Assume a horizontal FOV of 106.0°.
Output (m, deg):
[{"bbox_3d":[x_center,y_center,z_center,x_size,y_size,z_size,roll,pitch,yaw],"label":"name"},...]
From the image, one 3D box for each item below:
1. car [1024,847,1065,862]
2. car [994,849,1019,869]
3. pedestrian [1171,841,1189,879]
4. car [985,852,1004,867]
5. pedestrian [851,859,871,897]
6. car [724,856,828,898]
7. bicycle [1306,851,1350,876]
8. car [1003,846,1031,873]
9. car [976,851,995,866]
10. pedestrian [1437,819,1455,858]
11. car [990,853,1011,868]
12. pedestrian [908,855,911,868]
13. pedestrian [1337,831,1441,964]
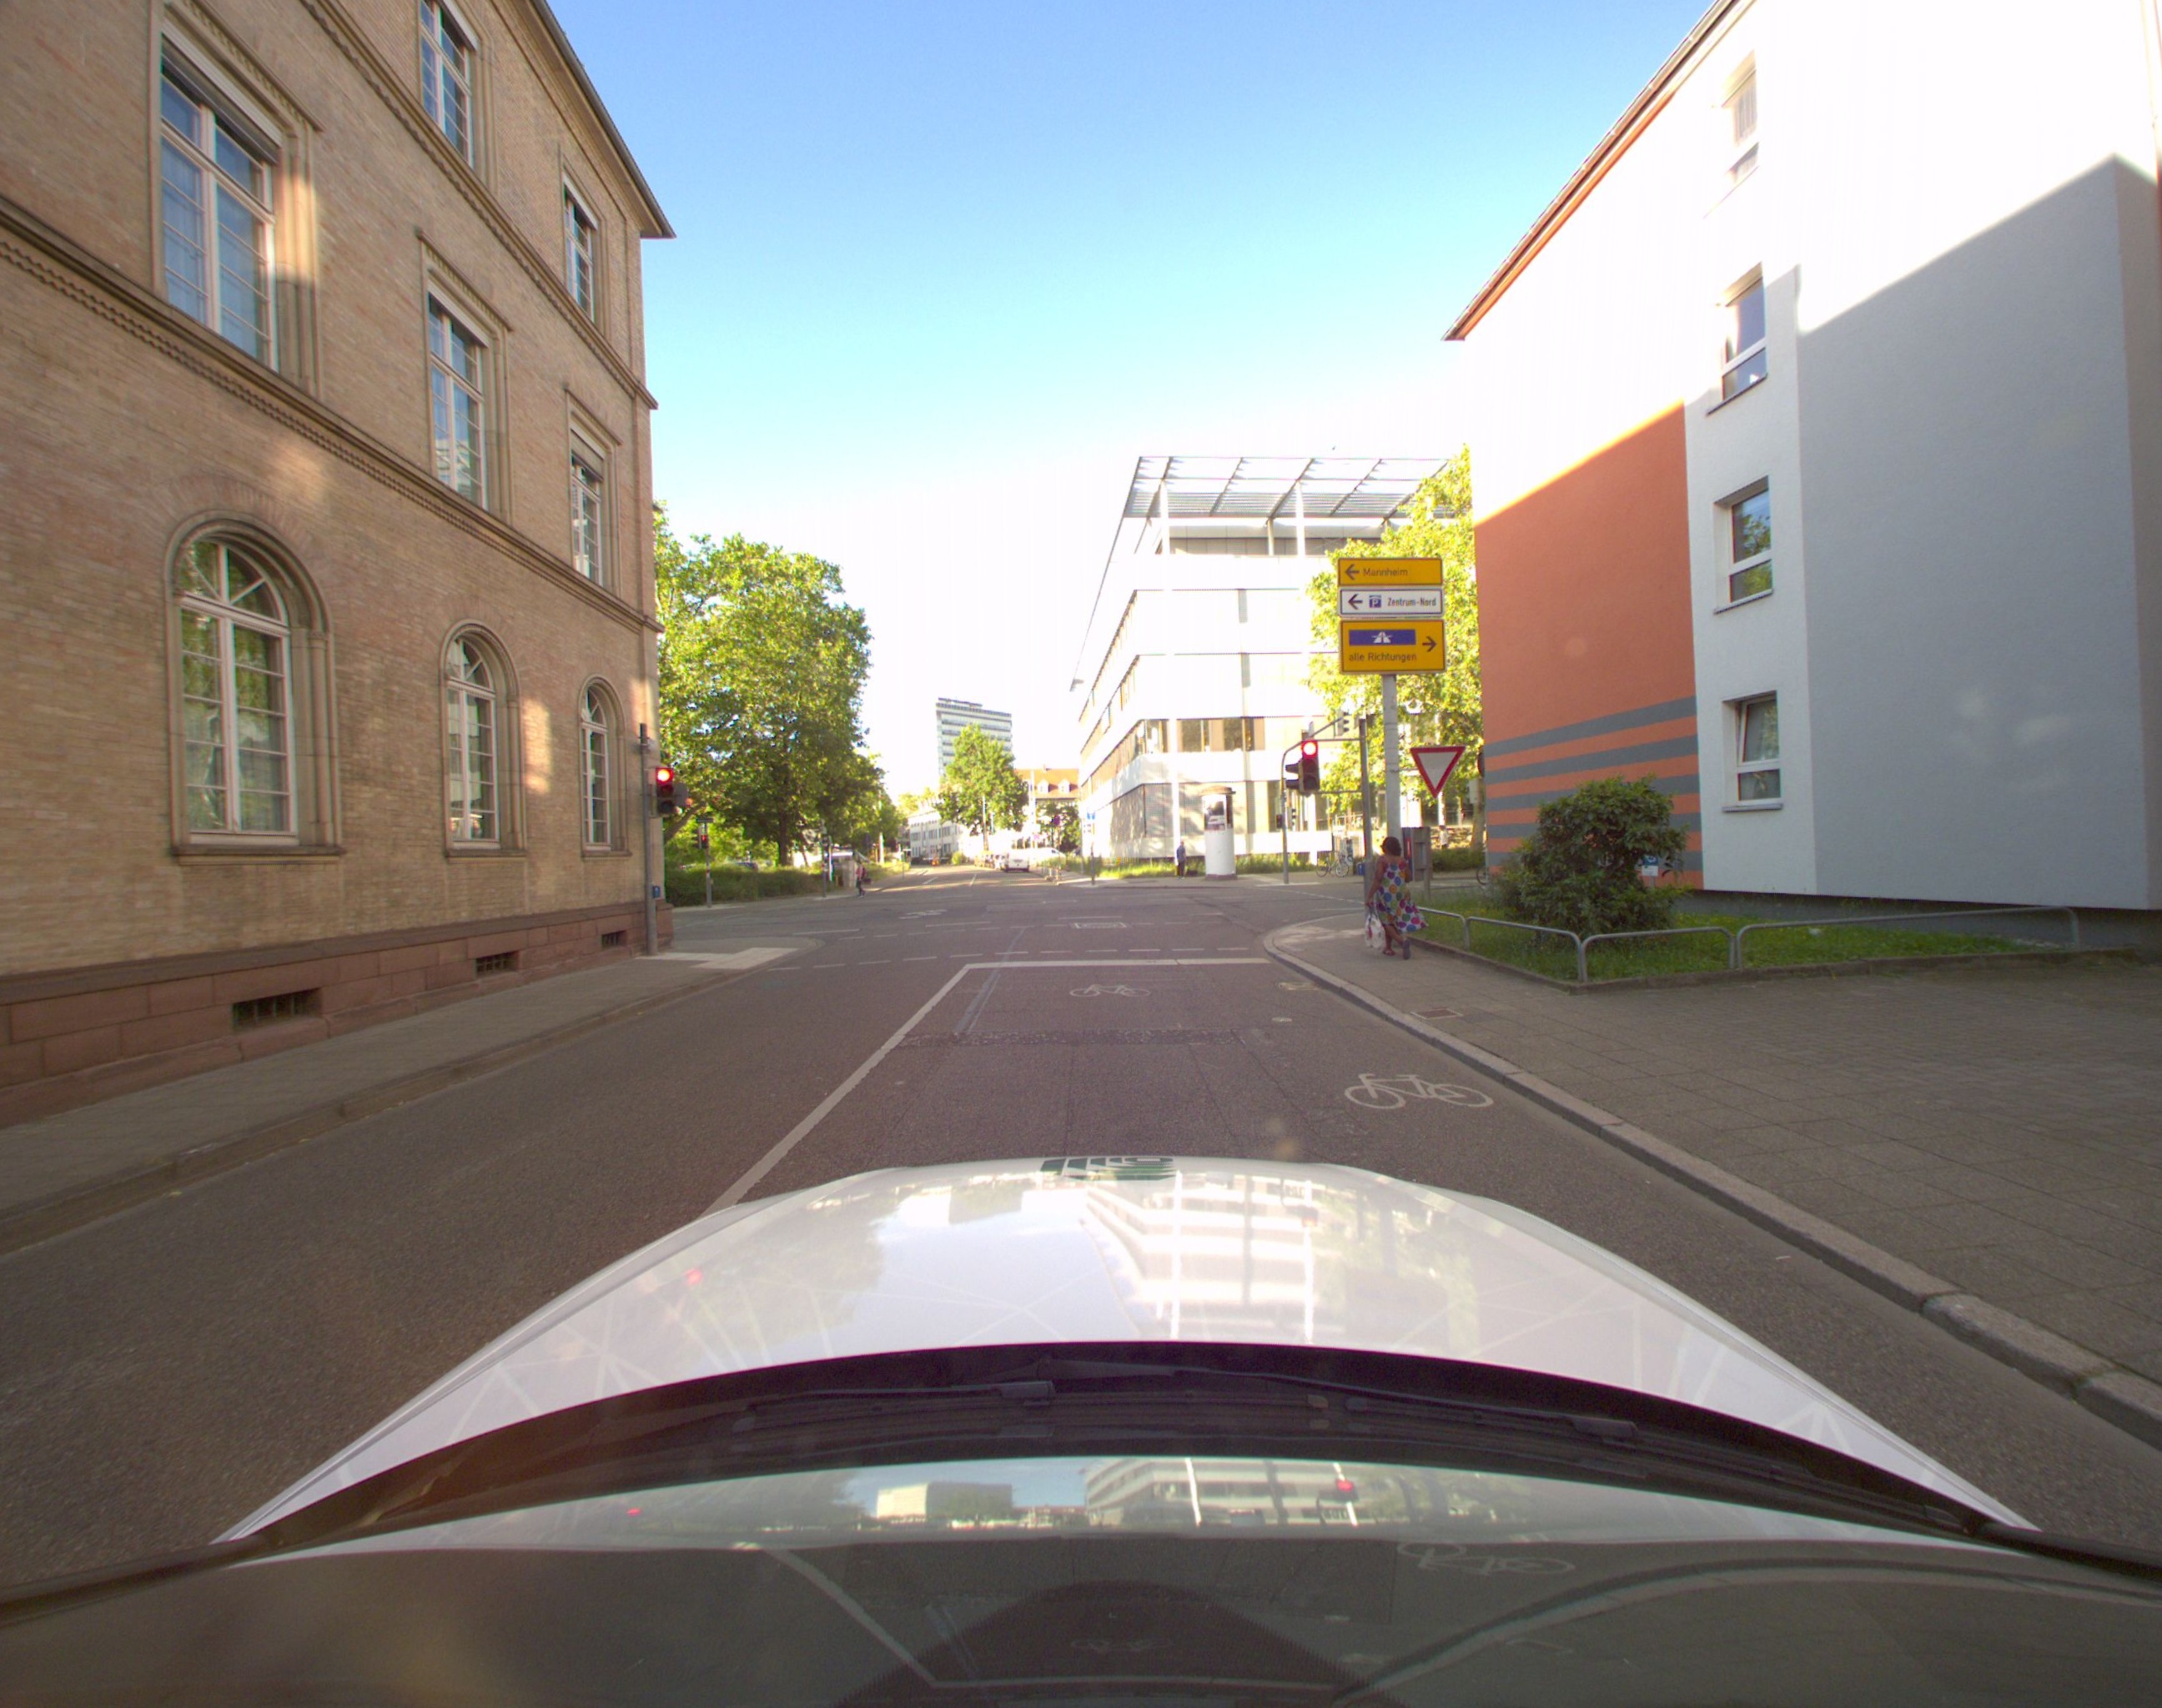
[{"bbox_3d":[-4.670,0.094,103.145,4.889,1.872,1.990,-1,-1,-15],"label":"car"},{"bbox_3d":[-7.097,0.487,76.928,1.947,1.795,4.223,-2,0,-11],"label":"car"},{"bbox_3d":[4.711,0.282,38.838,0.651,1.736,0.811,-2,0,-5],"label":"pedestrian"},{"bbox_3d":[-9.197,0.558,86.262,1.704,1.464,4.225,-2,0,-9],"label":"car"},{"bbox_3d":[-9.670,1.038,35.809,0.715,1.599,0.612,-2,0,-23],"label":"pedestrian"},{"bbox_3d":[-14.400,1.066,38.657,4.219,1.777,1.901,-2,0,-7],"label":"car"},{"bbox_3d":[10.902,0.434,36.014,0.467,1.049,1.893,-2,0,-40],"label":"bicycle"},{"bbox_3d":[-5.128,0.409,64.954,2.065,1.963,4.228,-2,0,-7],"label":"car"},{"bbox_3d":[-11.306,0.504,96.143,2.100,1.658,4.461,-2,0,-9],"label":"car"},{"bbox_3d":[17.357,-0.737,38.759,0.533,1.831,1.044,-2,0,13],"label":"pedestrian"},{"bbox_3d":[-8.083,0.622,81.640,1.705,1.424,4.221,-2,0,-11],"label":"car"},{"bbox_3d":[-21.763,0.961,103.312,0.380,1.534,0.444,-2,0,-10],"label":"pedestrian"},{"bbox_3d":[3.953,0.544,10.525,0.950,1.573,0.751,-5,0,3],"label":"pedestrian"}]
